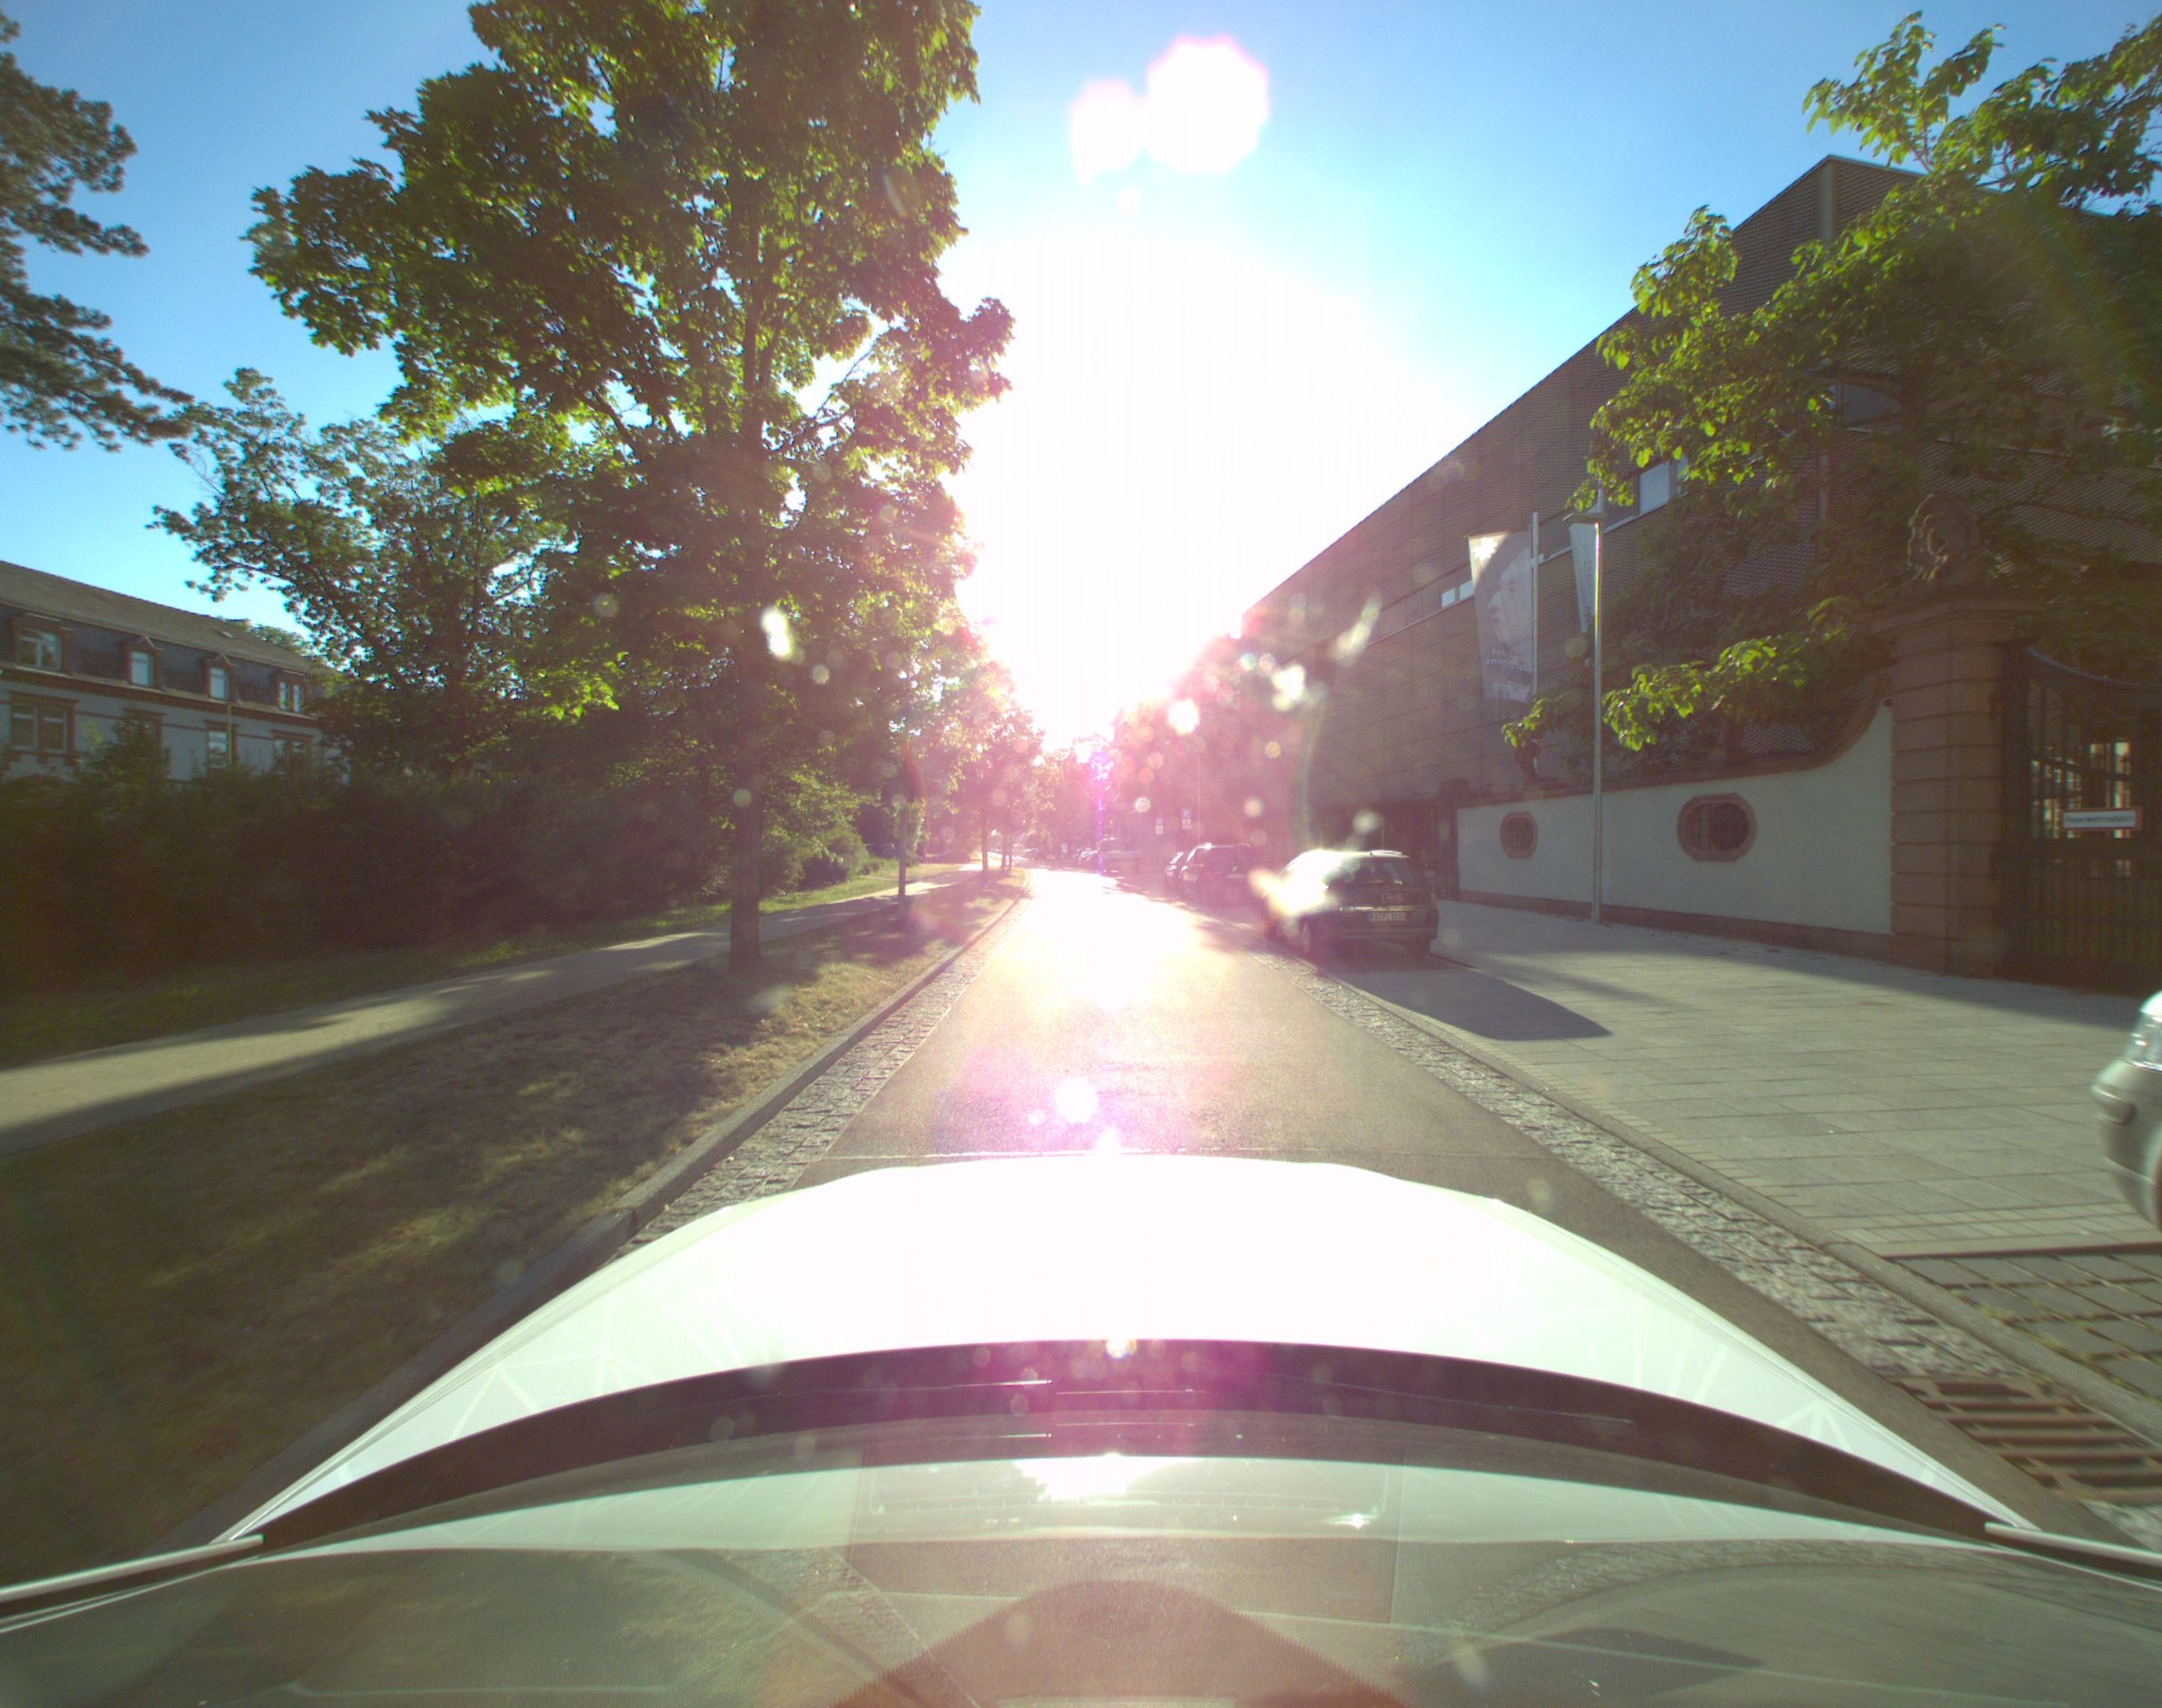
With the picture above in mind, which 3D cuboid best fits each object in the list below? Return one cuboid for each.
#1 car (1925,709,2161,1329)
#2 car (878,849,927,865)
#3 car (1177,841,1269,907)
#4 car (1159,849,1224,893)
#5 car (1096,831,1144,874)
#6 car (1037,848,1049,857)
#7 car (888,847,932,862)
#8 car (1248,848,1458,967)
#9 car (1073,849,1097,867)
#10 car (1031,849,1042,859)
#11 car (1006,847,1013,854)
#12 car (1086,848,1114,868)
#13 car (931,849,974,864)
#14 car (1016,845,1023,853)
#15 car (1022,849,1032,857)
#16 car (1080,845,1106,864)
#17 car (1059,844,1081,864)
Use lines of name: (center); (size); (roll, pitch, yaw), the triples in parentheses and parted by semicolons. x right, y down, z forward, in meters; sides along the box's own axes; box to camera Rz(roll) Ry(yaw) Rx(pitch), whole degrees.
car: (4.260, 0.487, 0.783); (1.985, 1.966, 4.854); (-4, 0, 4)
car: (-16.118, 0.219, 73.657); (4.013, 1.420, 1.754); (0, 0, -32)
car: (3.938, 0.492, 23.242); (1.720, 1.669, 4.110); (-2, 1, -3)
car: (3.881, 0.547, 29.127); (1.719, 1.421, 3.905); (-1, 1, -1)
car: (2.441, -0.126, 52.190); (2.207, 2.530, 6.137); (-2, 1, -5)
car: (-5.941, -0.254, 126.931); (1.789, 1.510, 3.997); (0, 0, -2)
car: (-16.845, 0.035, 80.268); (3.936, 1.420, 1.755); (0, 0, -29)
car: (3.983, 0.678, 12.789); (1.742, 1.466, 4.476); (-2, 0, -1)
car: (0.331, 0.363, 74.520); (1.689, 1.565, 4.095); (-1, 1, -6)
car: (-7.719, 0.030, 140.790); (1.791, 1.724, 3.994); (0, 0, -5)
car: (-20.461, -0.896, 233.915); (1.991, 1.969, 3.992); (1, 0, -5)
car: (1.421, 0.310, 63.327); (1.689, 1.440, 3.543); (-1, 1, -6)
car: (-13.045, 0.256, 82.612); (4.014, 1.420, 1.754); (0, 0, -33)
car: (-14.539, -1.137, 192.803); (1.791, 1.999, 3.994); (0, 0, -5)
car: (-10.393, -0.169, 156.019); (1.791, 1.510, 3.994); (0, 0, -5)
car: (0.949, 0.021, 68.535); (1.689, 1.440, 4.095); (-1, 1, -6)
car: (-1.162, -0.019, 81.991); (1.821, 2.013, 3.596); (0, 0, -7)
